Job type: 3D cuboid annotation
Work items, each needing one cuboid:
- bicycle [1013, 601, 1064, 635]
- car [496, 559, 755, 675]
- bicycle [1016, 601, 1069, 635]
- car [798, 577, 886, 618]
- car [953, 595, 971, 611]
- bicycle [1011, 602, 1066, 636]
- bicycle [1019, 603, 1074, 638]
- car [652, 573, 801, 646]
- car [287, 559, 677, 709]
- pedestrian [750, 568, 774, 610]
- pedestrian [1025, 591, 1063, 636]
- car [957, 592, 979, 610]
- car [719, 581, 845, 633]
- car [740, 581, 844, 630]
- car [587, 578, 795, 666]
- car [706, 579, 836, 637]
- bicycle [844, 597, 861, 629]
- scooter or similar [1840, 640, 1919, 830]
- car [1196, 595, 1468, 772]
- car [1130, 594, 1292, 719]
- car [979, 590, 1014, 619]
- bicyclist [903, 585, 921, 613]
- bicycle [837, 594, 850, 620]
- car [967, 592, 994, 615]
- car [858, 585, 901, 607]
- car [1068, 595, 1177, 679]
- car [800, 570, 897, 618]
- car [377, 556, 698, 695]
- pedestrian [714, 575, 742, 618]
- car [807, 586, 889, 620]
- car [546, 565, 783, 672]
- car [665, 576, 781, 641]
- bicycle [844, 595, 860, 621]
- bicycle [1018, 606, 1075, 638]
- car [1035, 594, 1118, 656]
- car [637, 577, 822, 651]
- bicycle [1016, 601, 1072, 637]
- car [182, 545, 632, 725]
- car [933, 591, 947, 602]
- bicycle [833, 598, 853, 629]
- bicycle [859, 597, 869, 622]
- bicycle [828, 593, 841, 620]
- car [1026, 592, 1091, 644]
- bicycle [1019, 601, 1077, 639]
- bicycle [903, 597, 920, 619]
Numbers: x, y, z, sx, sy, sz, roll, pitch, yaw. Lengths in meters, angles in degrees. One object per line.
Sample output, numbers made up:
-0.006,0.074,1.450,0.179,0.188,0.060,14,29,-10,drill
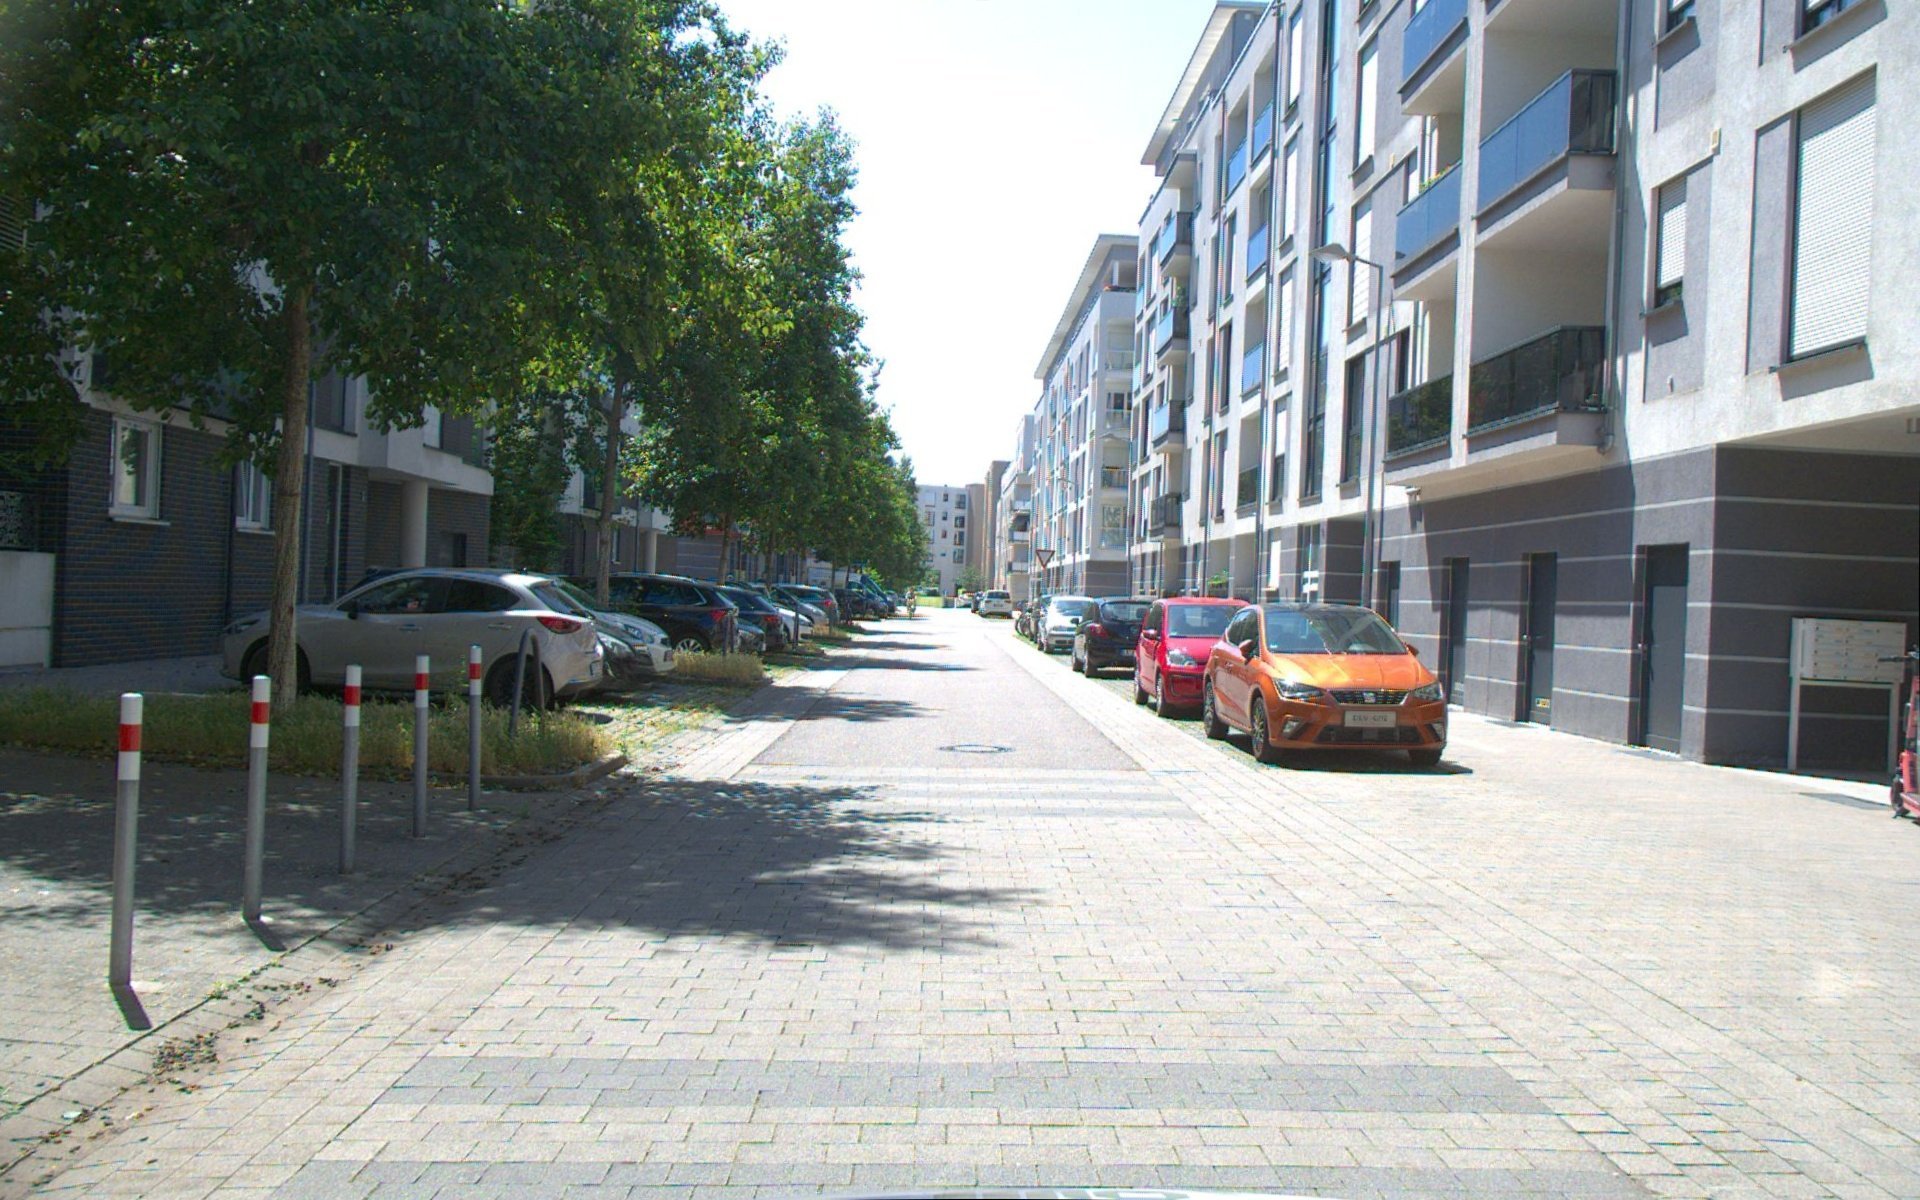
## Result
2.845,0.641,60.290,1.821,1.214,0.687,1,0,2,bicycle
-5.583,0.268,27.974,3.906,1.657,1.933,4,0,-1,car
2.896,0.643,57.928,1.806,1.168,0.458,1,0,-20,bicycle
-7.037,-0.141,98.838,5.041,2.156,2.311,3,0,-1,car
0.222,0.375,194.880,1.953,1.747,3.998,2,0,-2,car
2.759,0.665,58.291,1.882,1.153,0.609,1,0,8,bicycle
2.922,0.696,55.989,1.751,1.123,0.746,1,0,-5,bicycle
-5.961,0.240,42.568,3.637,1.613,1.818,4,0,-6,car
-5.812,0.398,20.498,4.229,1.501,1.792,4,0,-1,car
-9.880,-0.548,82.616,0.988,2.049,1.129,1,0,2,pedestrian
2.921,0.466,57.472,1.157,1.541,0.686,1,0,-11,pedestrian
0.816,0.067,167.664,1.953,1.704,3.998,2,0,-2,car
-5.947,0.256,55.630,4.099,1.512,1.957,3,-1,-5,car
-6.122,0.195,60.545,3.557,1.547,1.831,3,0,-1,car
-5.320,0.429,33.150,3.897,1.470,1.774,4,0,-5,car
-5.993,0.233,52.733,3.858,1.580,1.872,3,0,-2,car
-4.108,0.488,63.103,0.364,1.201,1.815,1,0,-13,bicycle
6.854,0.942,11.864,0.534,1.247,1.530,3,0,14,scooter or similar
3.560,0.726,16.596,1.702,1.513,4.258,1,0,-1,car
3.266,0.691,22.126,1.563,1.511,3.675,0,0,-1,car
2.176,0.243,99.026,1.956,1.686,4.115,1,0,0,car
-2.612,-0.076,89.792,0.934,1.485,0.799,2,0,-2,bicyclist
-5.741,0.338,81.562,0.425,1.225,1.700,3,1,0,bicycle
1.504,0.260,119.123,1.721,1.579,4.001,3,0,2,car
-7.958,-0.375,163.093,3.903,2.049,2.001,2,0,5,car
3.065,0.662,31.891,1.609,1.488,4.116,0,0,-1,car
-6.992,-0.367,104.270,5.901,2.865,2.604,1,0,-1,car
-5.797,0.331,23.059,3.906,1.619,1.883,3,0,-1,car
-9.435,-0.150,67.394,0.979,1.720,0.832,2,0,0,pedestrian
-6.180,0.164,91.669,4.295,1.541,2.075,4,0,-1,car
-5.383,0.331,30.504,3.905,1.679,1.918,3,0,1,car
-6.503,0.222,45.560,2.874,1.526,1.847,4,0,-2,car
-5.318,0.385,81.564,0.559,1.194,1.766,5,1,-8,bicycle
2.960,0.742,56.684,1.885,1.053,0.559,1,0,-5,bicycle
2.988,0.618,43.279,1.797,1.531,4.350,0,0,-1,car
-5.531,0.335,40.161,4.274,1.740,1.999,0,0,-4,car
2.917,0.662,57.345,1.888,1.239,0.459,1,0,-10,bicycle
-5.893,0.362,18.050,4.167,1.544,1.924,4,0,-2,car
-3.031,-0.555,250.939,1.953,1.545,3.998,2,0,-2,car
-4.462,0.507,63.068,0.426,1.147,1.972,1,0,-13,bicycle
-4.744,0.458,81.794,0.456,1.161,1.925,2,0,-3,bicycle
-6.200,0.311,81.806,0.508,1.225,1.751,3,1,-3,bicycle
3.029,0.526,51.599,1.703,1.511,4.228,1,0,-1,car
2.945,0.665,55.243,1.833,1.239,0.715,1,0,-5,bicycle
-2.635,0.404,89.696,0.880,1.149,2.039,2,0,-2,bicycle
